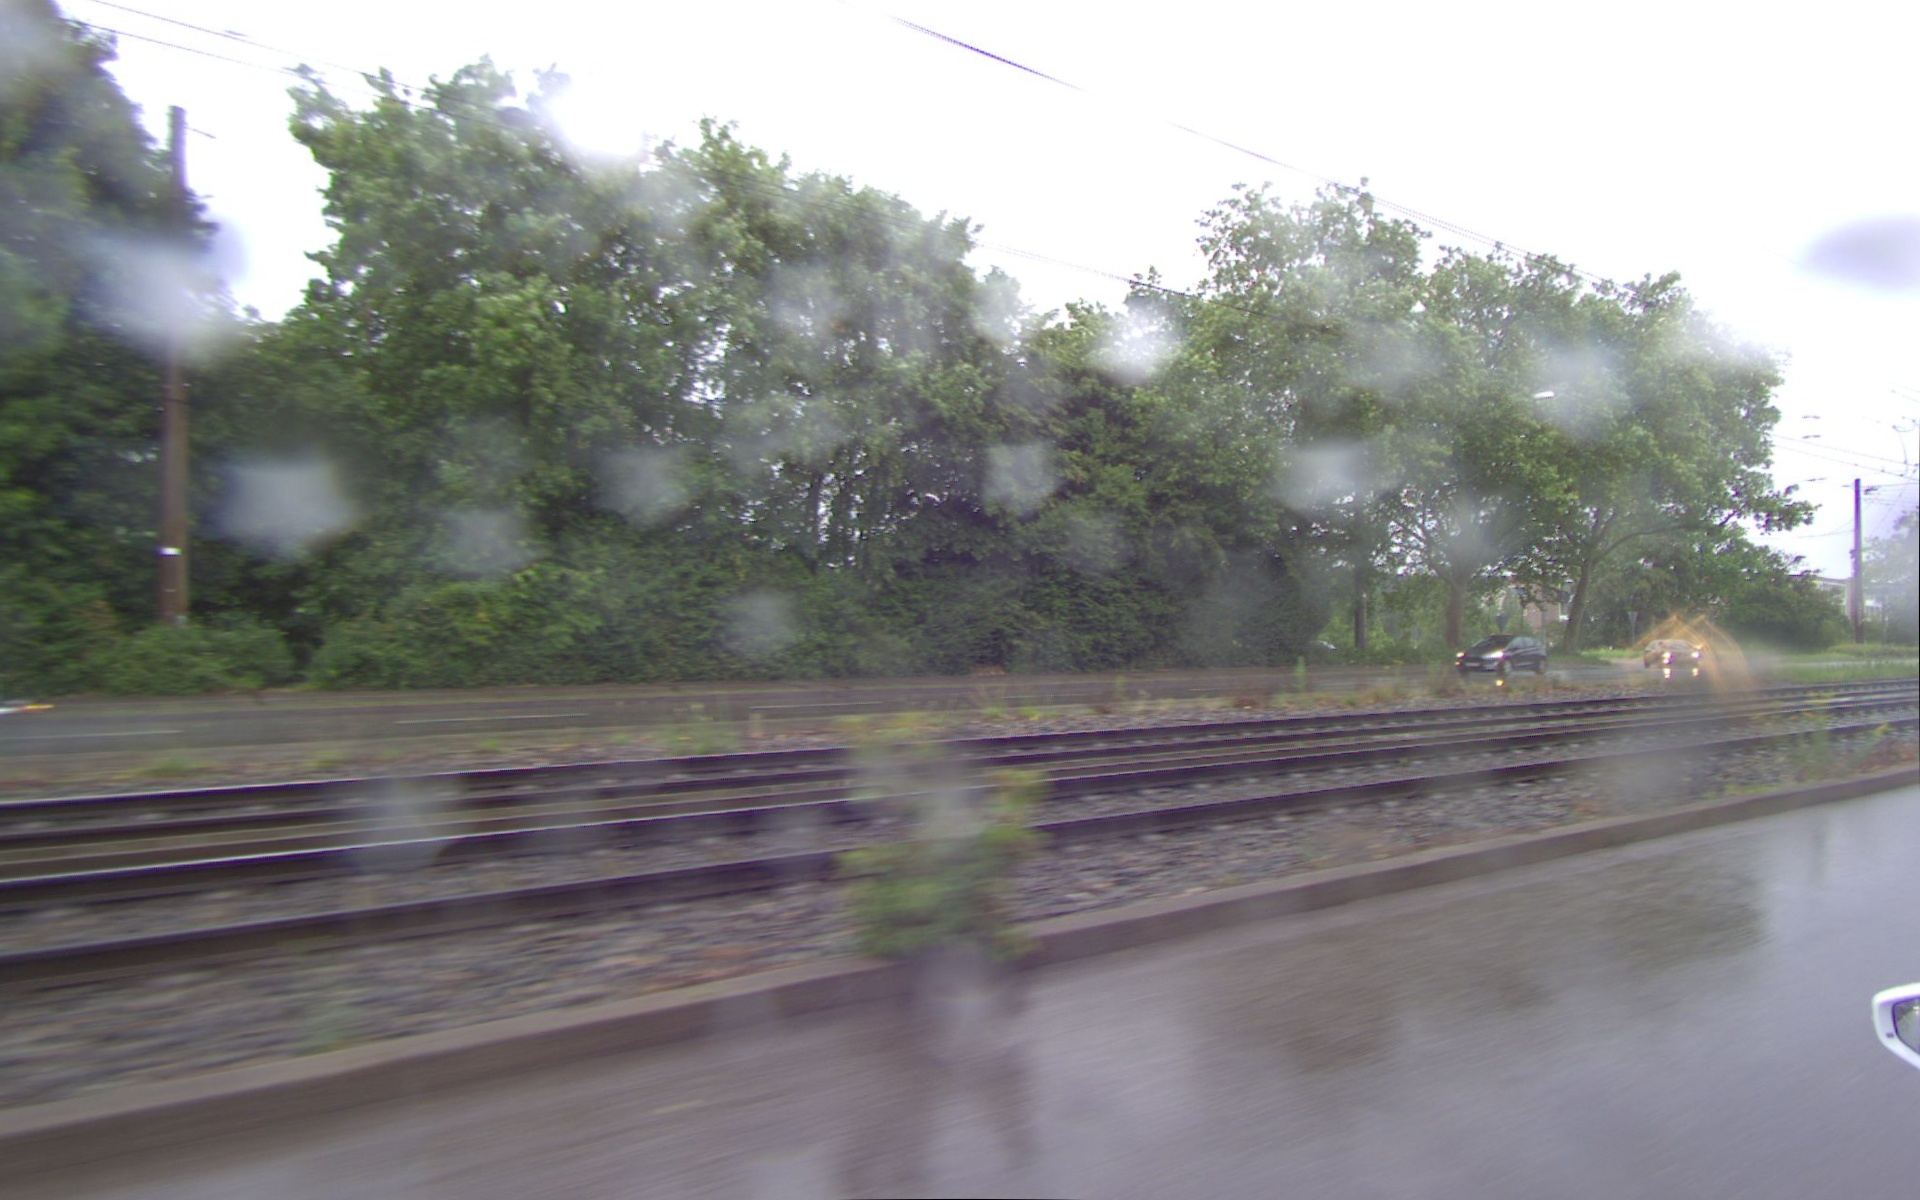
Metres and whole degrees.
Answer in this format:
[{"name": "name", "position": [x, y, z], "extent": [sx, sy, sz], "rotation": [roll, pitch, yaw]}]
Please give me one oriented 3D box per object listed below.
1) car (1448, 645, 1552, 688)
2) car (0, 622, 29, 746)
[{"name": "car", "position": [19.657, 2.375, 36.516], "extent": [3.897, 1.424, 1.673], "rotation": [2, -1, -33]}, {"name": "car", "position": [-14.329, 1.021, 11.662], "extent": [4.903, 1.543, 1.680], "rotation": [1, -1, -33]}]
